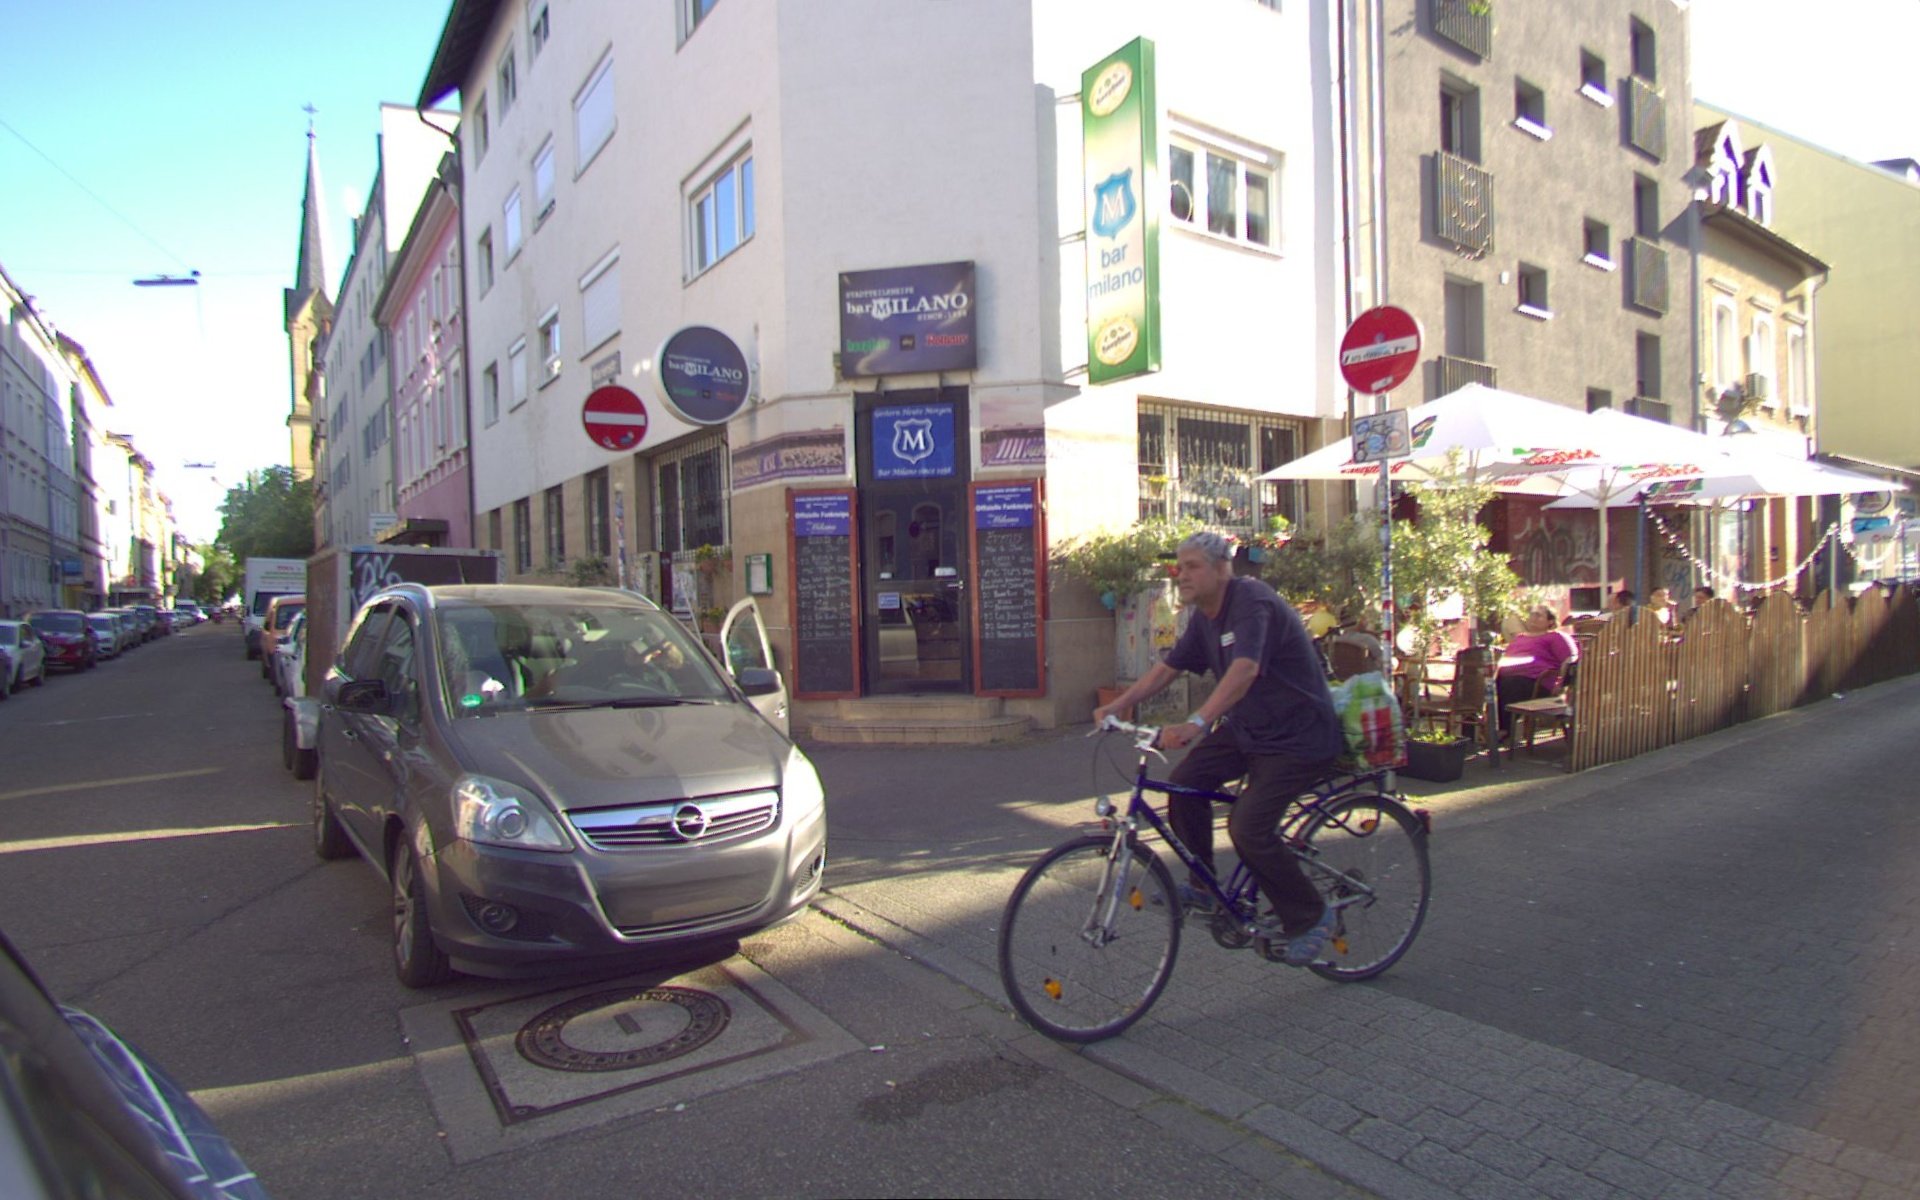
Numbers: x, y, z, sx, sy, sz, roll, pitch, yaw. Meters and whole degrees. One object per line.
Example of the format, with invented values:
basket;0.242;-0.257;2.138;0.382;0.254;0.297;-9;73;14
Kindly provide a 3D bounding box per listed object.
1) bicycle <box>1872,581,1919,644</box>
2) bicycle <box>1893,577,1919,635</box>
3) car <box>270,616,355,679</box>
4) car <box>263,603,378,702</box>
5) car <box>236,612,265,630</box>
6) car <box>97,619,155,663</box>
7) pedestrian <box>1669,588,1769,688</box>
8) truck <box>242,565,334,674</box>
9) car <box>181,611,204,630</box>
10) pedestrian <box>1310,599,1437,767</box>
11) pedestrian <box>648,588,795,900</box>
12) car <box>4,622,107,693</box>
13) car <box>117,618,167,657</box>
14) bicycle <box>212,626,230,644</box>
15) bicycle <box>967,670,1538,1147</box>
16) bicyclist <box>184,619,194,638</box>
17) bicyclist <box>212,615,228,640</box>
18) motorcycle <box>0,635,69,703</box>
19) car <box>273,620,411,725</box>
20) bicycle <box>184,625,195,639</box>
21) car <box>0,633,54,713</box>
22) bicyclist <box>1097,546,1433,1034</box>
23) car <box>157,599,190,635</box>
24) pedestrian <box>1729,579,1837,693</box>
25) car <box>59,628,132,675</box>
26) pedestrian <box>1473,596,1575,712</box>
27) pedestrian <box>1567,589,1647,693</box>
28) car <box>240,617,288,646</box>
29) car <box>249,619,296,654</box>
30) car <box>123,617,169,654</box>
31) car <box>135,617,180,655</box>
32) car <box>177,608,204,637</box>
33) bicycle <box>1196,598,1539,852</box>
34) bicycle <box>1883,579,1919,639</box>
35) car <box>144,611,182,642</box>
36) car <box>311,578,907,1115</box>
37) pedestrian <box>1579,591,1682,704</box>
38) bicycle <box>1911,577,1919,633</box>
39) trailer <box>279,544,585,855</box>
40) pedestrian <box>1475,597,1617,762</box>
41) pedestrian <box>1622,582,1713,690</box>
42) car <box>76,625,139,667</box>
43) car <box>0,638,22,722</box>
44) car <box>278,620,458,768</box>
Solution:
bicycle;17.256;0.205;17.623;1.921;1.078;0.606;-2;1;32
bicycle;18.682;0.111;18.765;0.602;1.078;1.933;-3;1;-31
car;-17.089;1.178;26.636;1.660;1.477;3.669;-1;0;-36
car;-13.703;1.012;21.580;1.778;1.859;4.254;-1;0;-36
car;-67.581;1.955;96.419;1.897;1.542;4.572;-4;2;-39
car;-36.126;1.724;43.911;1.686;1.744;4.230;0;0;-36
pedestrian;8.624;0.411;11.504;0.712;1.061;0.680;-3;1;-31
truck;-22.167;0.574;33.315;2.260;3.207;7.063;-1;0;-35
car;-89.625;2.345;118.166;1.968;2.028;4.572;-3;2;-39
pedestrian;3.398;0.648;8.335;0.677;1.275;0.662;-3;1;-32
pedestrian;-1.384;0.771;5.853;0.571;1.656;0.632;-3;3;-35
car;-24.858;1.509;27.941;1.686;1.744;4.418;0;0;-36
car;-39.971;1.784;49.513;1.686;1.744;4.230;0;0;-36
bicycle;-70.765;3.321;96.891;1.004;1.663;3.553;-3;2;-40
bicycle;1.061;0.914;3.563;1.901;1.119;0.713;-4;1;-27
bicyclist;-71.066;2.589;93.268;0.705;1.671;0.879;-3;1;-38
bicyclist;-70.794;2.643;96.852;1.004;2.310;1.534;-3;2;-40
motorcycle;-22.463;1.641;24.606;0.974;1.501;2.273;0;0;-36
car;-10.573;1.134;17.157;1.651;1.508;4.541;0;-2;-36
bicycle;-71.009;2.963;93.227;0.718;1.189;2.494;-3;2;-38
car;-20.398;1.496;21.289;1.594;1.515;3.781;0;0;-36
bicyclist;1.042;0.568;3.535;0.776;1.446;0.713;-4;1;-27
car;-66.272;1.433;85.272;1.968;2.814;4.572;-3;2;-39
pedestrian;9.726;0.410;11.986;0.672;1.275;0.722;-2;1;7
car;-29.427;1.707;34.528;1.587;1.406;3.891;0;0;-36
pedestrian;6.045;0.559;10.858;0.649;1.163;0.683;-3;1;-26
pedestrian;7.572;0.466;11.871;0.536;1.153;0.658;-2;1;8
car;-41.413;1.850;60.178;1.897;1.542;4.572;-4;2;-39
car;-31.597;1.652;46.462;1.660;1.502;3.923;2;-1;-36
car;-43.179;1.850;53.737;1.686;1.826;4.230;0;0;-36
car;-48.259;2.126;60.909;1.968;2.028;4.573;-3;2;-38
car;-81.144;2.346;106.730;1.968;2.814;4.572;-3;2;-39
bicycle;2.793;0.709;6.795;2.443;1.369;0.931;-2;0;-35
bicycle;18.078;0.161;18.303;0.602;1.078;1.933;-3;1;-31
car;-55.990;1.830;71.066;1.968;2.028;4.572;-3;2;-39
car;-2.160;0.782;5.242;1.699;1.617;4.175;0;-1;-37
pedestrian;7.237;0.503;10.956;0.681;1.153;0.658;-2;1;8
bicycle;19.405;0.081;19.164;0.602;1.078;1.933;-3;1;-31
trailer;-4.884;0.679;9.005;1.640;2.076;4.372;0;0;-38
pedestrian;4.973;0.635;8.594;0.836;1.275;0.708;-3;1;-32
pedestrian;8.741;0.428;12.524;0.650;1.275;0.616;-3;1;-6
car;-33.327;1.761;39.627;1.587;1.463;3.891;0;0;-36
car;-17.560;1.420;17.356;1.709;1.406;3.891;0;0;-36
car;-7.761;1.065;13.103;1.654;1.566;3.827;0;0;-36
